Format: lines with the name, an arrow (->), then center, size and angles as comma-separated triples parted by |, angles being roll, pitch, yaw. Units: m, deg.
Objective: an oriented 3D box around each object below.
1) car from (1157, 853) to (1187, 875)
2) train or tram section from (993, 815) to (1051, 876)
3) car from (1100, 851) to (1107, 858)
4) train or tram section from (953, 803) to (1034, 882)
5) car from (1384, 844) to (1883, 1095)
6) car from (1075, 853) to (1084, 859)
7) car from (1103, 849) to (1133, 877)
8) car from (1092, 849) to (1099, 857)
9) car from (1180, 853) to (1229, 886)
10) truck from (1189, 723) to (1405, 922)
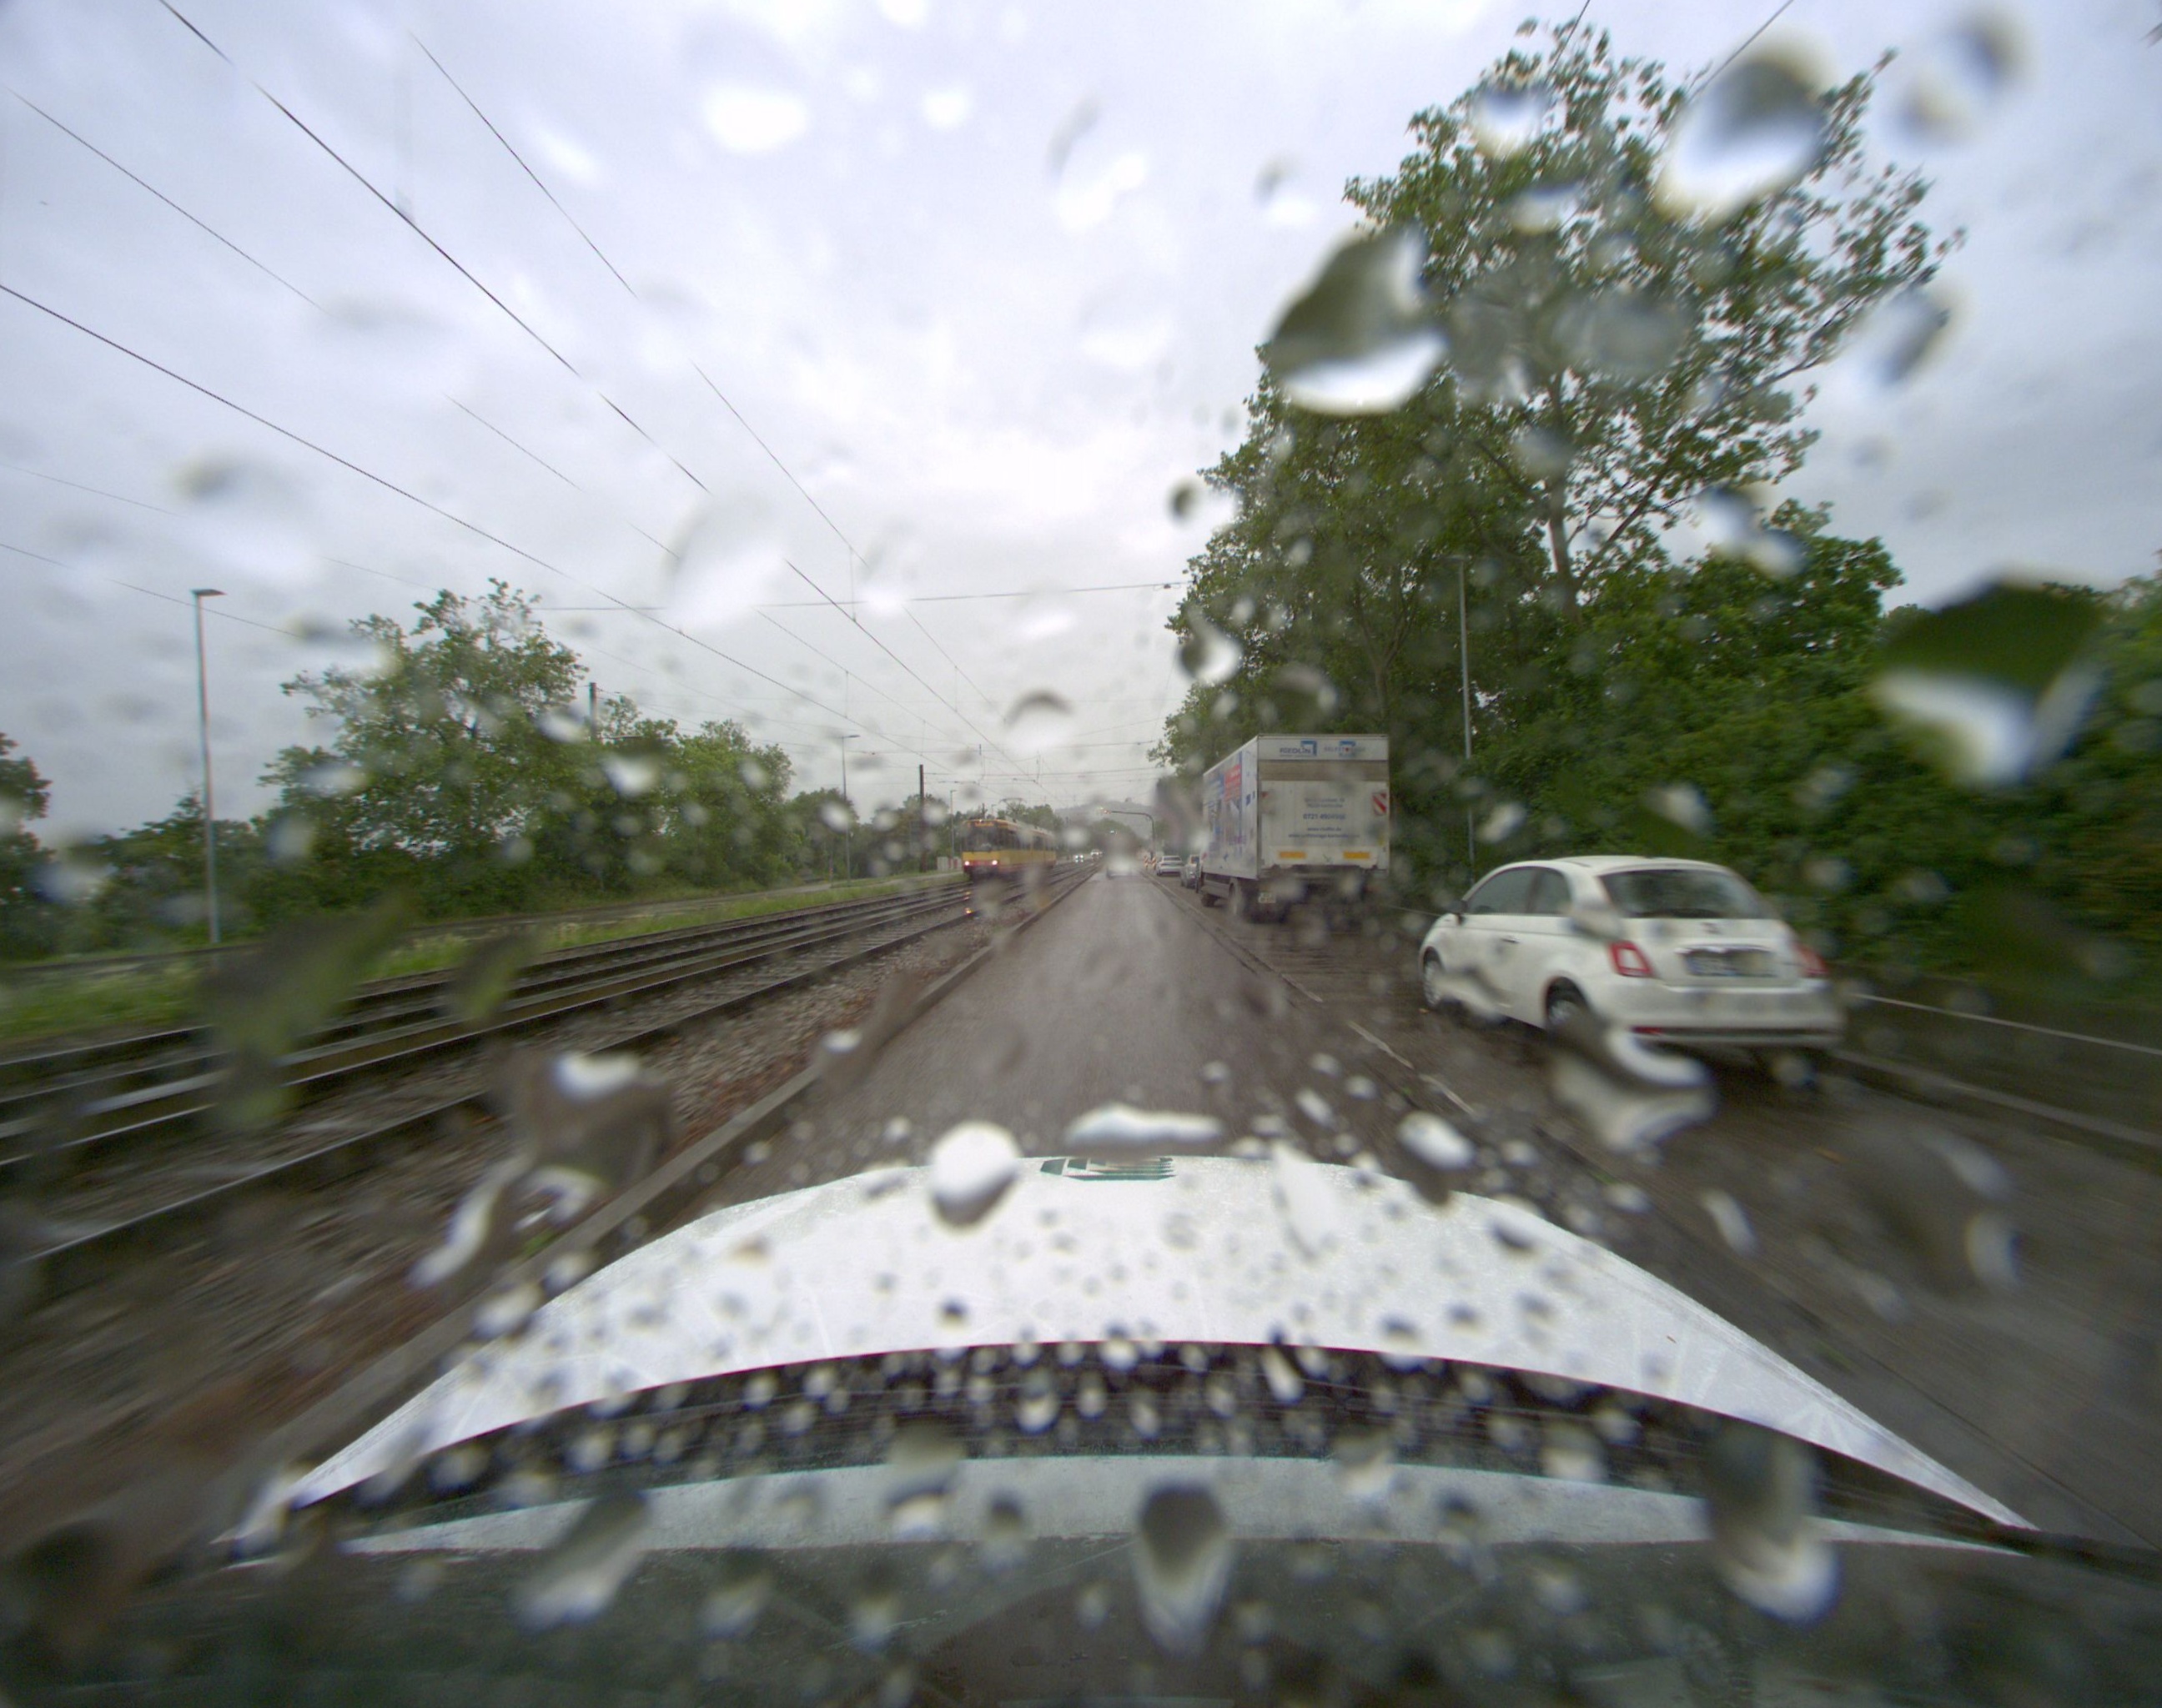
car -> 6.265, 0.673, 56.555 | 1.812, 1.486, 4.483 | 0, 0, 2
train or tram section -> -4.302, -0.546, 62.633 | 2.795, 4.150, 13.028 | -1, 0, 3
car -> 6.971, 0.151, 255.615 | 1.985, 1.948, 4.004 | -1, -1, 4
train or tram section -> -5.006, -0.594, 49.605 | 2.795, 4.149, 13.029 | -1, 0, 3
car -> 4.179, 0.723, 7.073 | 1.707, 1.529, 4.002 | -1, 0, 2
car -> -0.404, 0.496, 193.599 | 1.812, 1.398, 4.002 | -2, 0, 2
car -> 2.600, 0.586, 56.454 | 1.985, 1.849, 4.003 | -1, 0, 3
car -> 4.102, -0.214, 230.244 | 1.985, 2.014, 4.004 | -1, -1, 4
car -> 5.589, 0.687, 37.274 | 1.805, 1.459, 4.348 | 0, -1, 3
truck -> 4.711, -0.533, 20.228 | 2.766, 3.704, 9.851 | -1, -1, 0
